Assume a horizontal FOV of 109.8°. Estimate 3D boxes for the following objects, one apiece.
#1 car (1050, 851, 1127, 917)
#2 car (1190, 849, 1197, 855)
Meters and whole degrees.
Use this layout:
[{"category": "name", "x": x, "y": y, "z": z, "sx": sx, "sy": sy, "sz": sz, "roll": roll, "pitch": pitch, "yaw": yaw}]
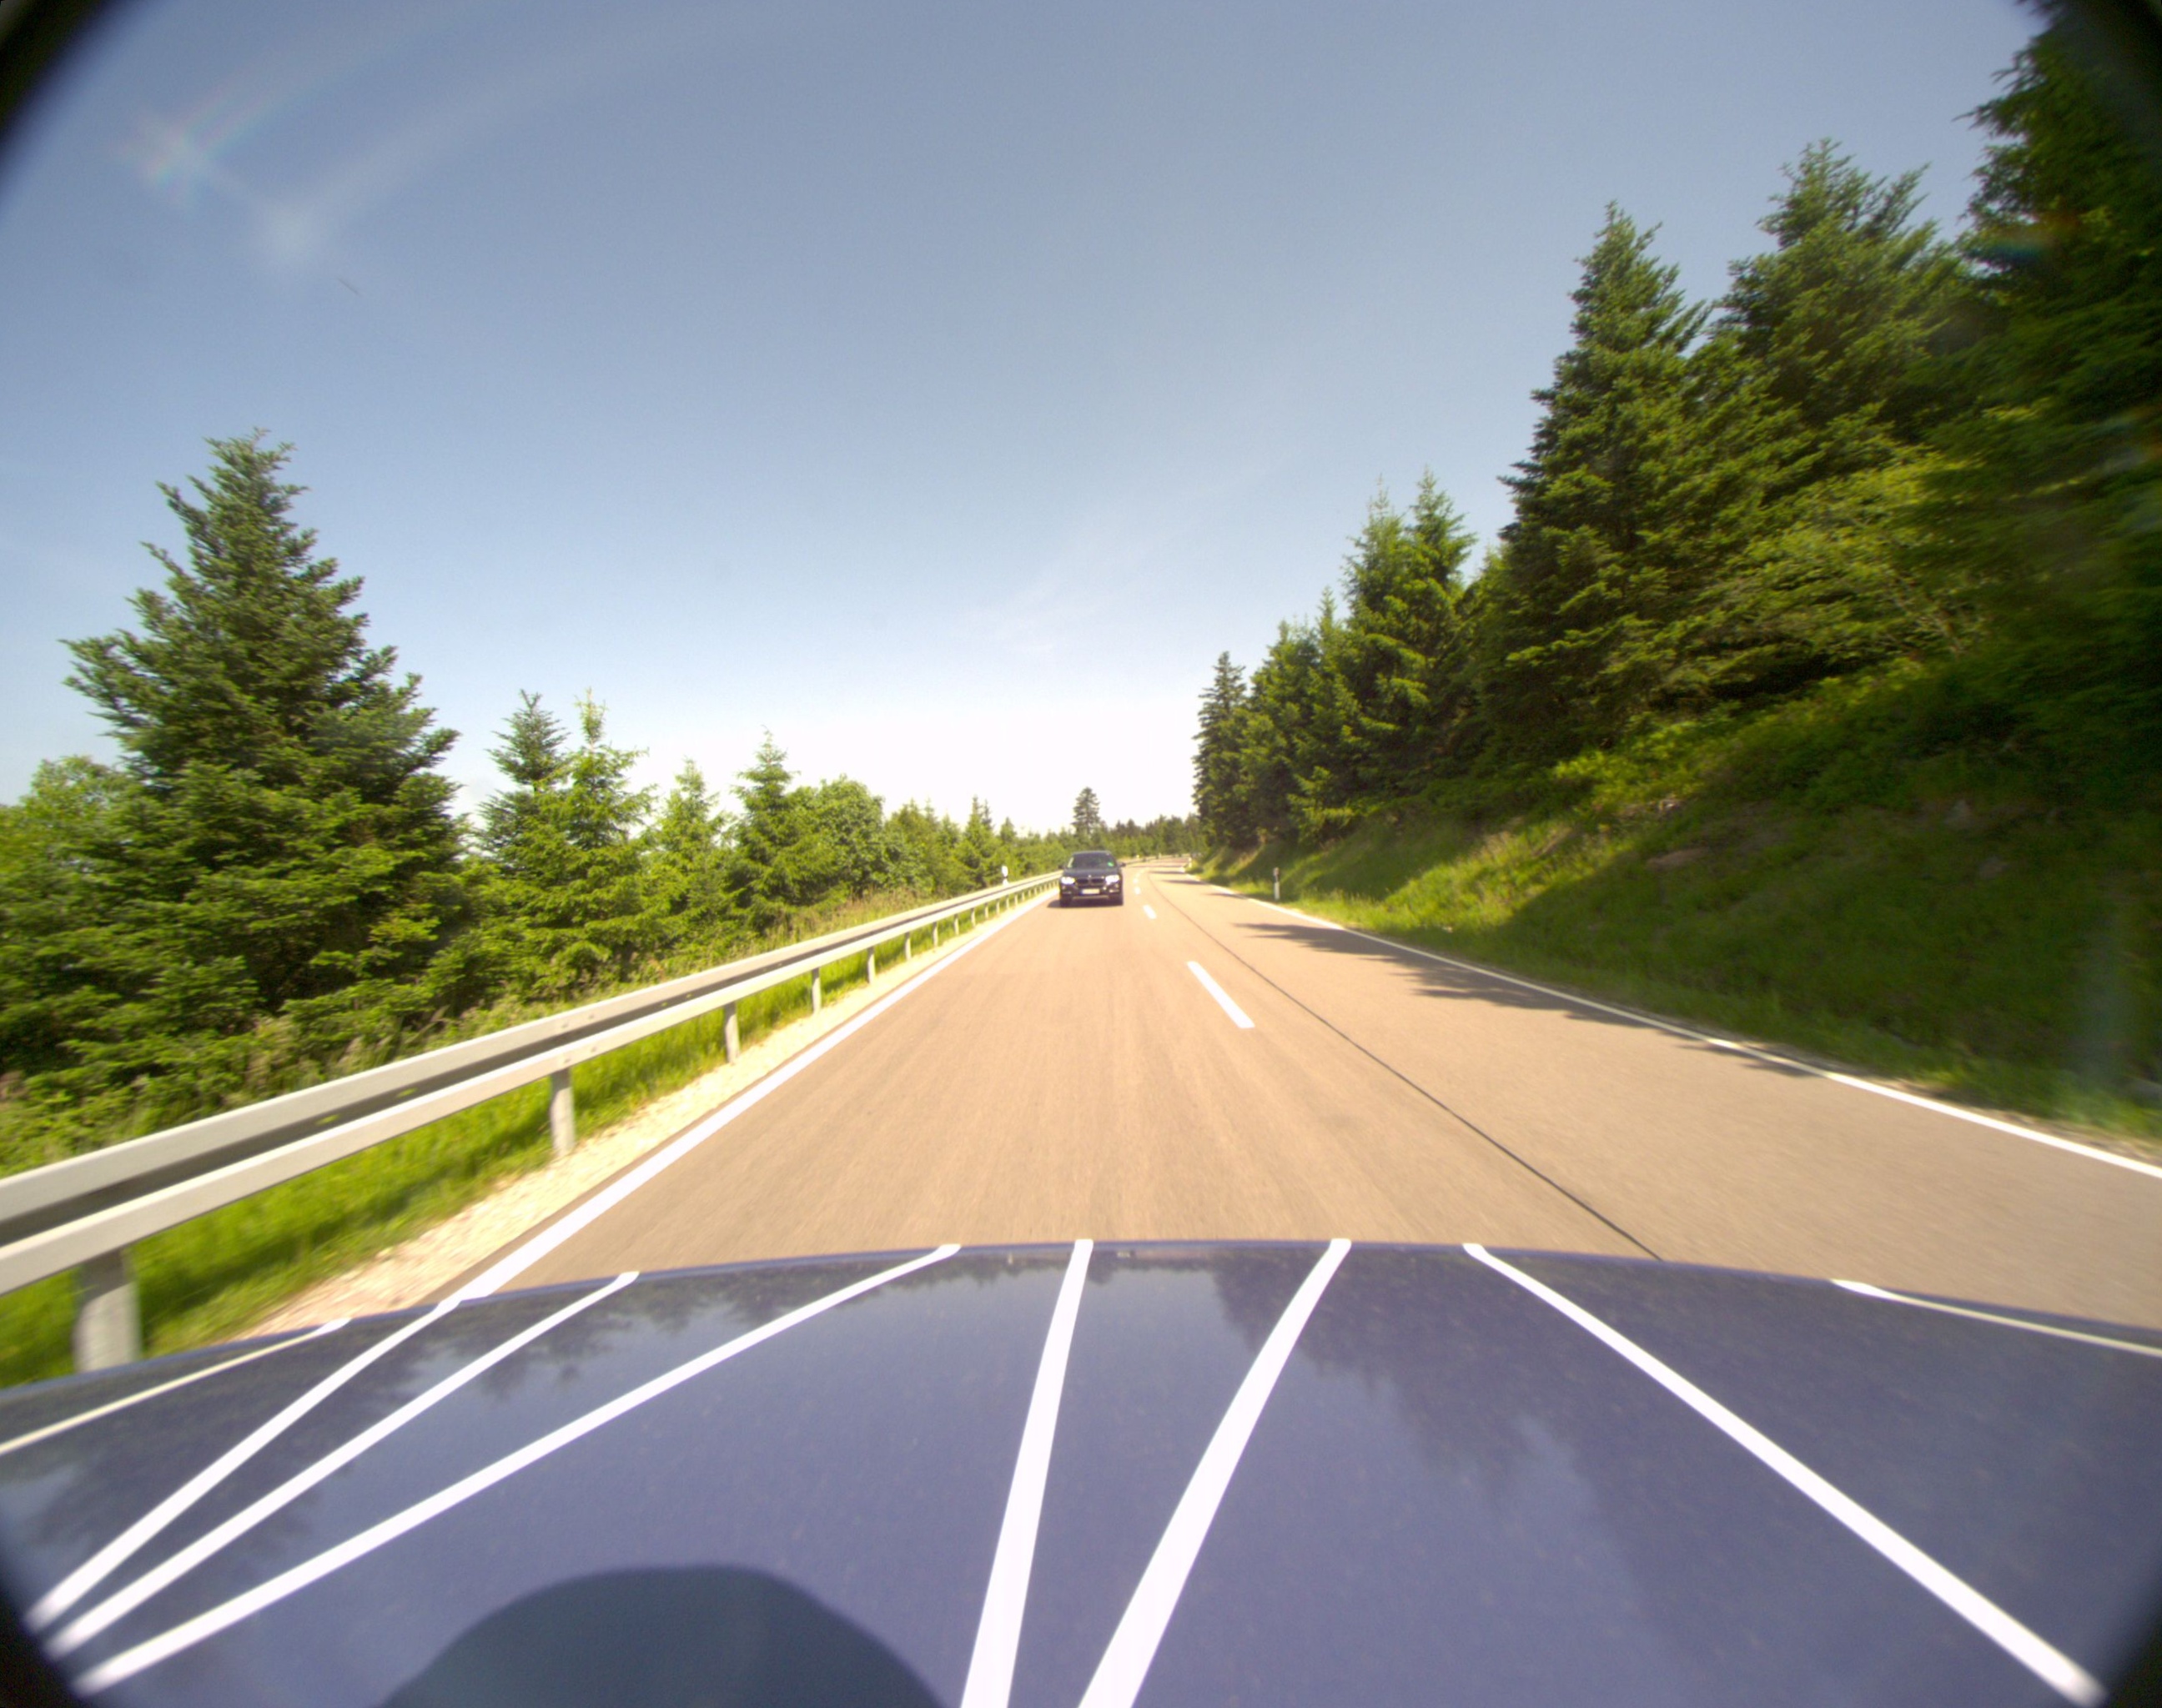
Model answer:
[{"category": "car", "x": 0.371, "y": 0.804, "z": 23.242, "sx": 1.998, "sy": 1.676, "sz": 5.937, "roll": -2, "pitch": 0, "yaw": 3}, {"category": "car", "x": 28.117, "y": -0.525, "z": 189.910, "sx": 1.688, "sy": 1.406, "sz": 3.264, "roll": -1, "pitch": 0, "yaw": 8}]
